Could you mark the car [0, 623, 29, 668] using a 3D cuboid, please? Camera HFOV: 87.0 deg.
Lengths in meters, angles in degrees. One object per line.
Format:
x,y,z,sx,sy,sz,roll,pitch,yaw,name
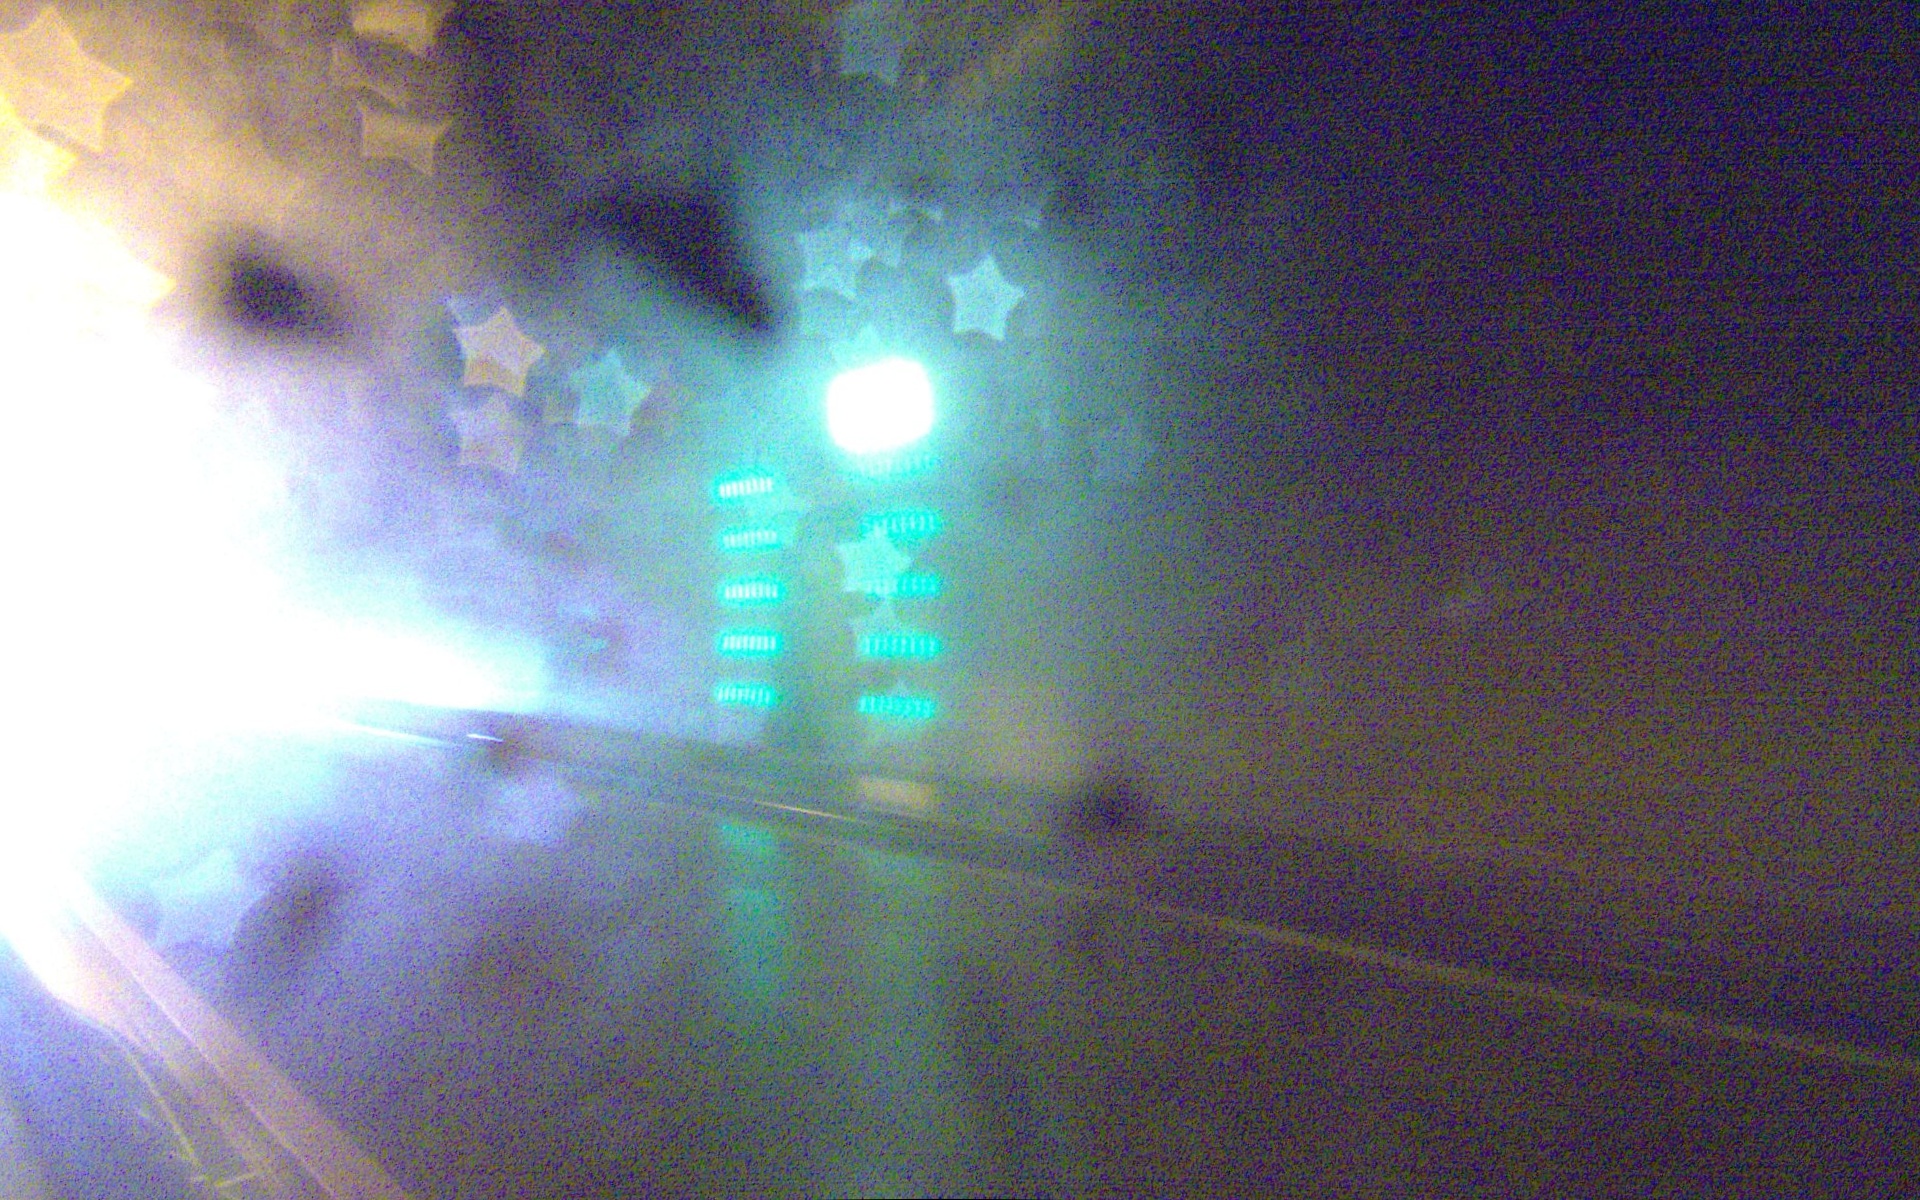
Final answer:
-36.324,1.703,38.195,1.612,1.662,3.777,1,-2,-45,car
